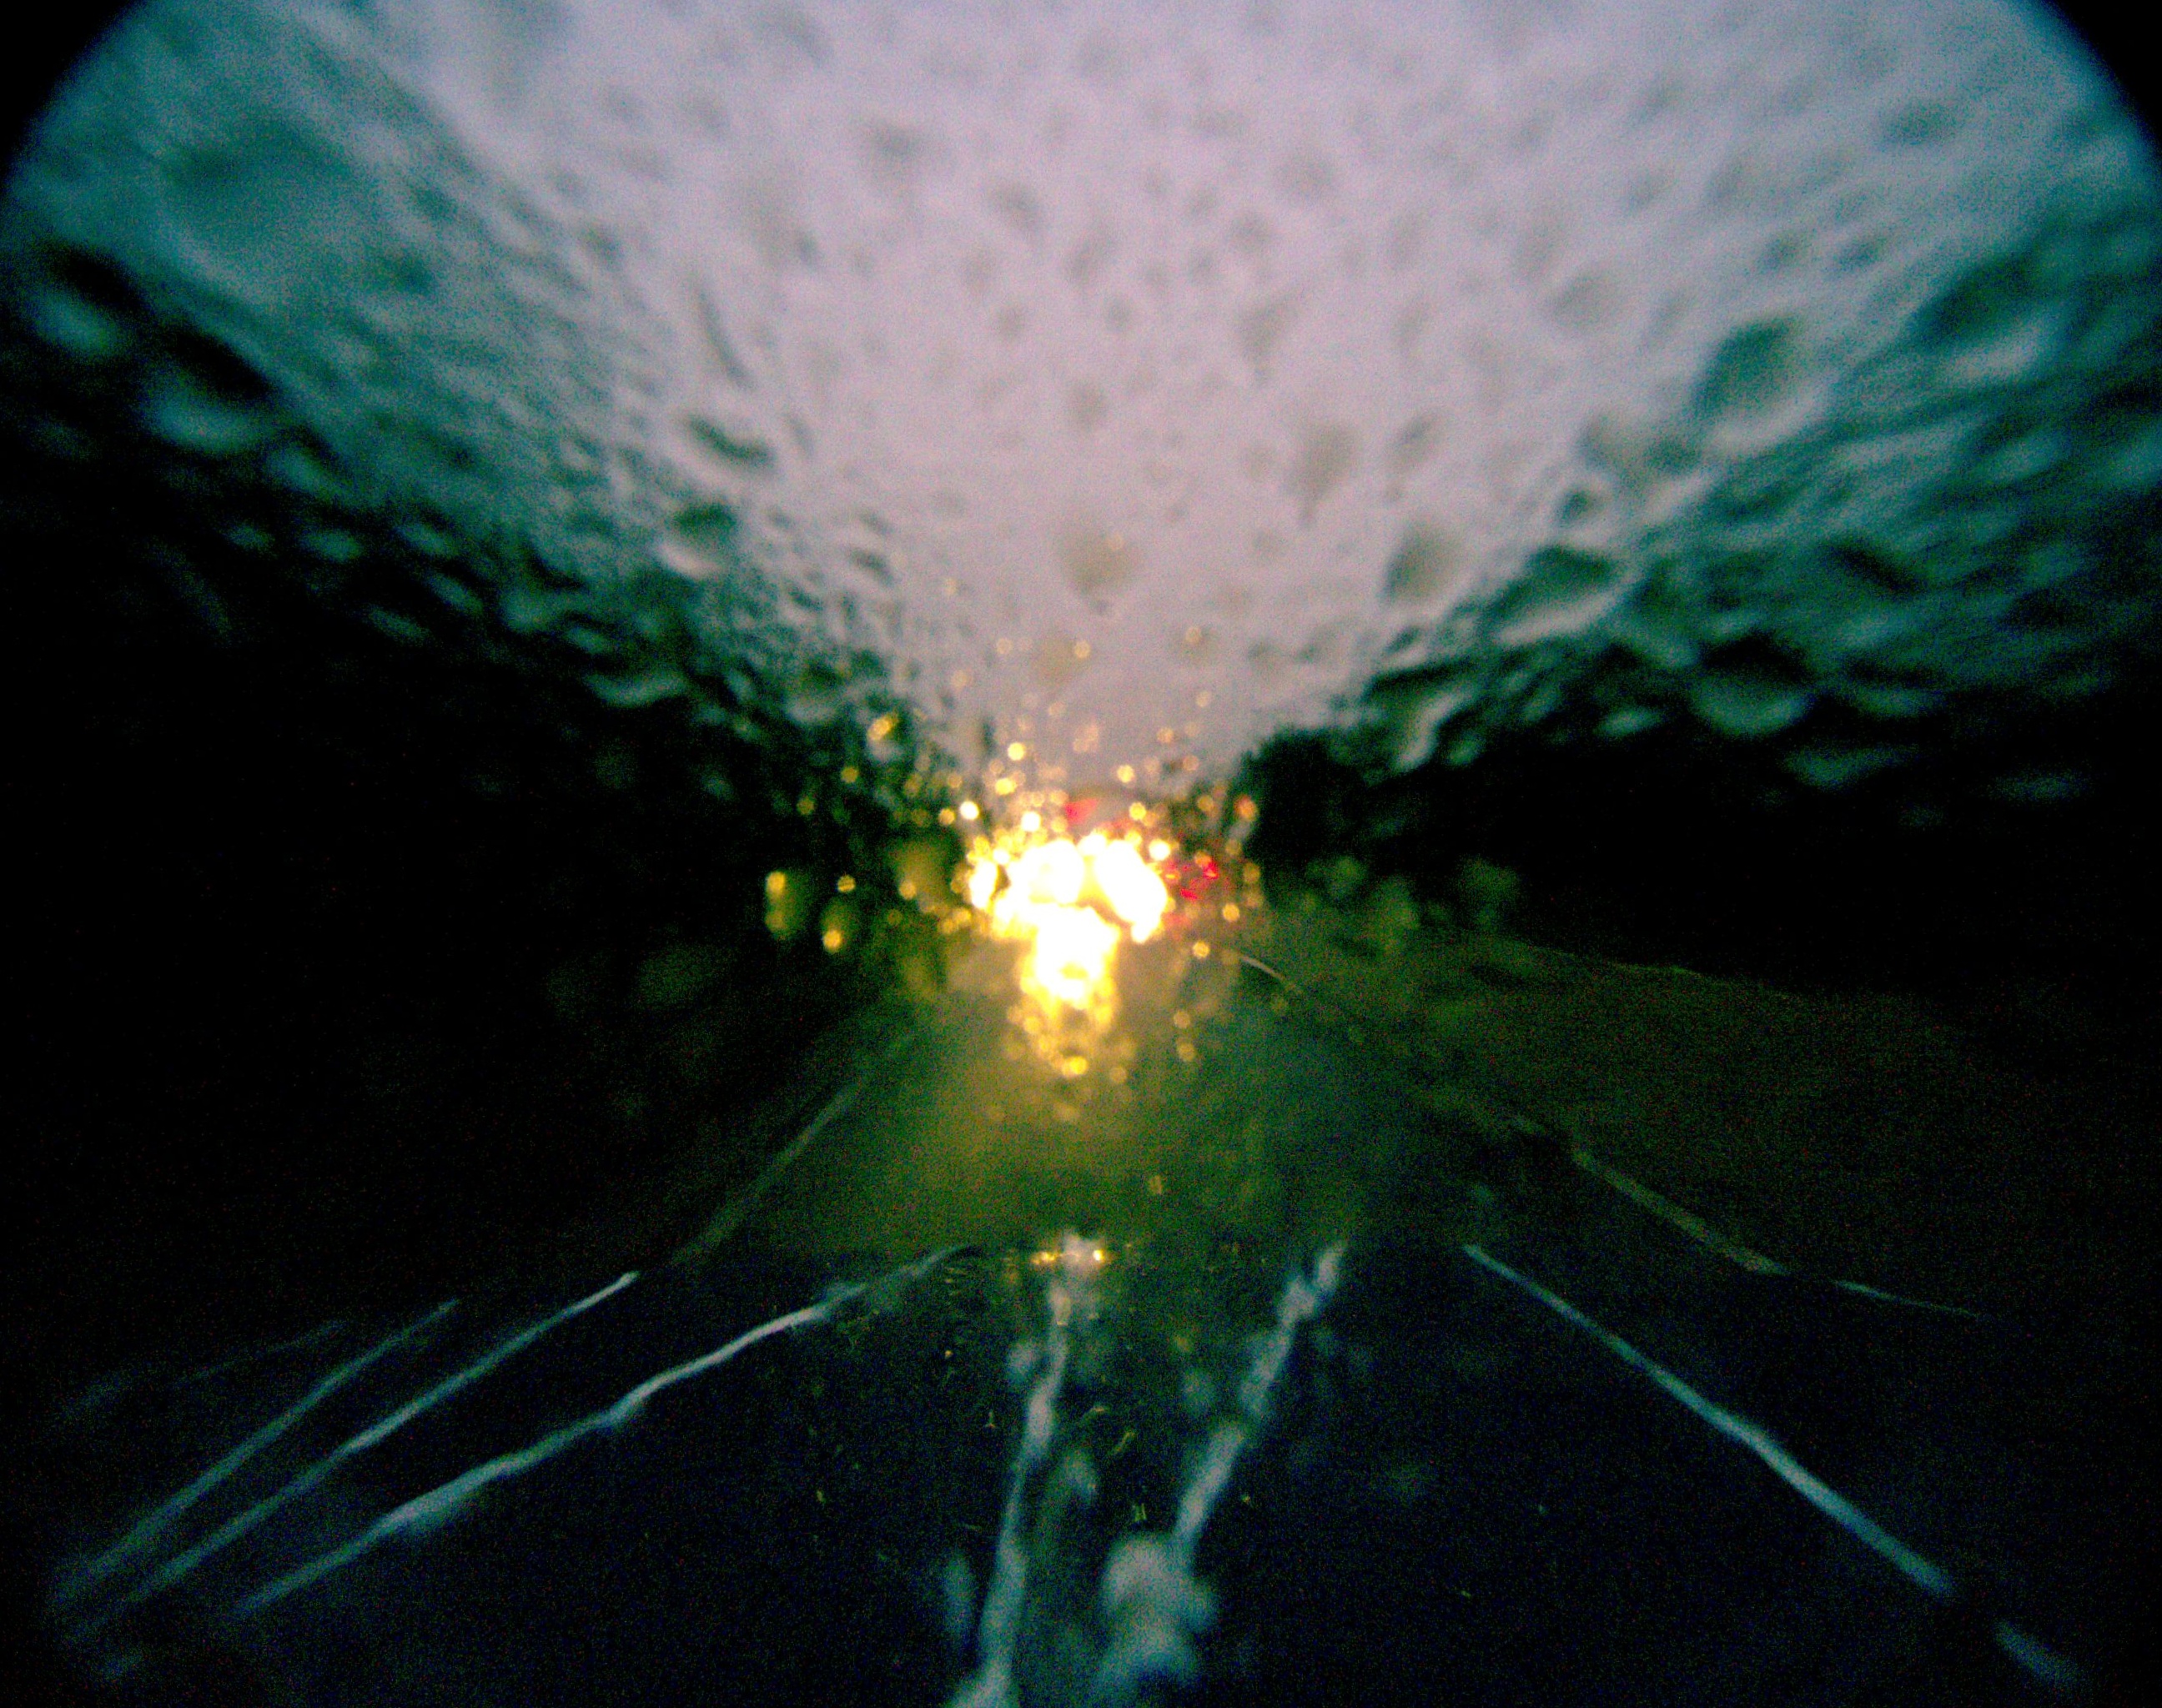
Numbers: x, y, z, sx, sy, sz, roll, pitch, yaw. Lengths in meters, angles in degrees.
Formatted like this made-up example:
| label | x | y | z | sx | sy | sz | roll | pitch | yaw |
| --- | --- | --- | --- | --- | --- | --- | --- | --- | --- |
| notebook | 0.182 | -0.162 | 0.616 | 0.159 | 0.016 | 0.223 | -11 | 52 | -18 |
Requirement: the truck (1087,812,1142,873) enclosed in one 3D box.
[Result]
| label | x | y | z | sx | sy | sz | roll | pitch | yaw |
| --- | --- | --- | --- | --- | --- | --- | --- | --- | --- |
| truck | 2.566 | -0.868 | 62.713 | 3.356 | 4.401 | 11.165 | -4 | 0 | -2 |

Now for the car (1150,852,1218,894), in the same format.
| label | x | y | z | sx | sy | sz | roll | pitch | yaw |
| --- | --- | --- | --- | --- | --- | --- | --- | --- | --- |
| car | 3.936 | 0.690 | 29.673 | 1.850 | 1.452 | 4.244 | -3 | 0 | -3 |

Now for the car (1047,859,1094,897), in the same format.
| label | x | y | z | sx | sy | sz | roll | pitch | yaw |
| --- | --- | --- | --- | --- | --- | --- | --- | --- | --- |
| car | -0.467 | 0.988 | 32.807 | 1.850 | 1.429 | 4.244 | -3 | 0 | -1 |

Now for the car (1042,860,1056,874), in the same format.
| label | x | y | z | sx | sy | sz | roll | pitch | yaw |
| --- | --- | --- | --- | --- | --- | --- | --- | --- | --- |
| car | -4.486 | 1.757 | 106.006 | 1.702 | 1.721 | 3.999 | -4 | 0 | -3 |
